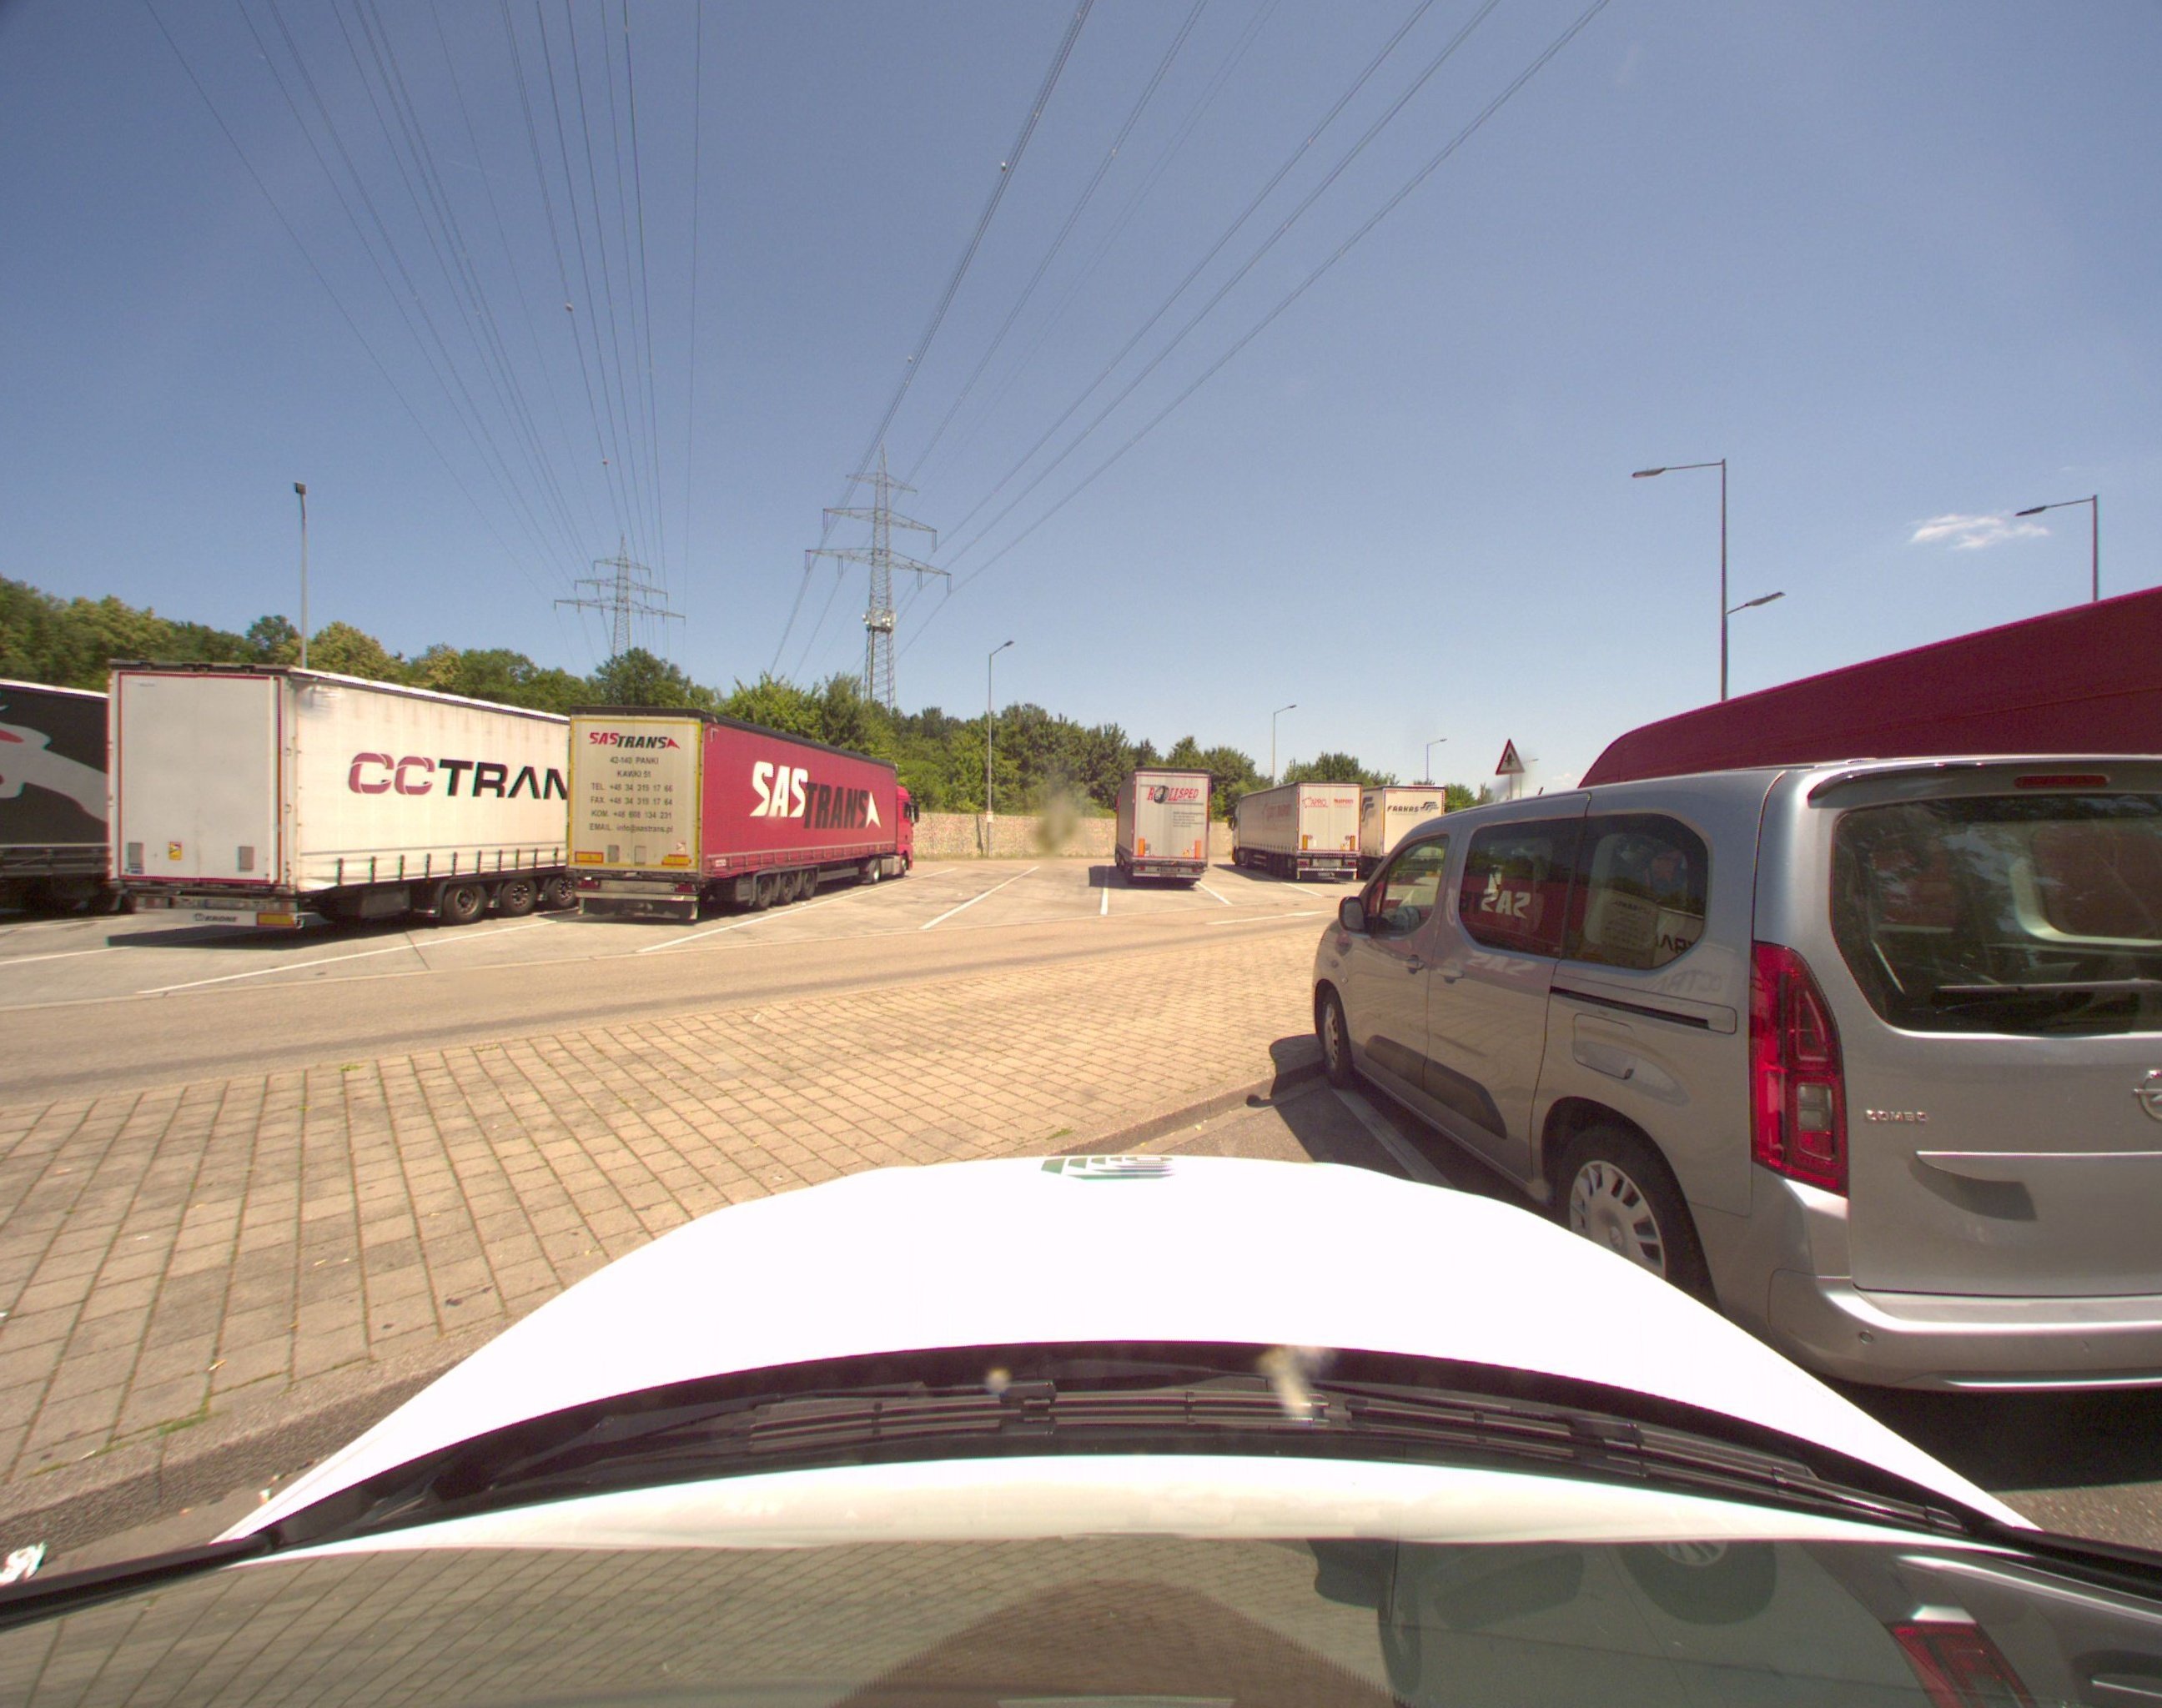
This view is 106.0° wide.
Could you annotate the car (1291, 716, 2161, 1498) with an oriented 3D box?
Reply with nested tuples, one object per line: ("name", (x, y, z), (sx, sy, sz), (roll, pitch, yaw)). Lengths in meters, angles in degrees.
("car", (2.471, 0.531, 3.860), (1.821, 1.753, 3.998), (-1, 1, -2))

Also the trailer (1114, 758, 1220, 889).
("trailer", (3.043, -1.187, 32.747), (3.059, 4.227, 12.811), (1, 2, 1))

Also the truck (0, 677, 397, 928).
("truck", (-18.512, -0.855, 15.972), (2.627, 4.018, 8.640), (-1, 1, 2))

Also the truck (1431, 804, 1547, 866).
("truck", (24.458, -1.128, 49.447), (3.013, 3.437, 8.534), (-1, 1, 2))

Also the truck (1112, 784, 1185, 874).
("truck", (3.124, -1.221, 39.520), (3.016, 3.928, 6.848), (1, 2, 1))

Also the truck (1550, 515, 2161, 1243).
("truck", (5.100, 0.052, 4.882), (1.983, 2.623, 5.312), (-1, 1, 6))

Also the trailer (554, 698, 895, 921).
("trailer", (-8.046, -0.918, 21.559), (2.739, 4.057, 13.292), (-1, 1, 2))

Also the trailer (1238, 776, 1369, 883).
("trailer", (9.937, -1.066, 38.419), (2.865, 4.124, 13.577), (0, 1, 2))

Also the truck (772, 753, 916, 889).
("truck", (-7.841, -1.050, 28.023), (2.733, 4.081, 6.832), (-1, 1, 1))

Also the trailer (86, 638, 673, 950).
("trailer", (-12.100, -0.895, 16.079), (2.734, 4.263, 9.740), (0, 1, 3))

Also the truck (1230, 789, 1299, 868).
("truck", (10.124, -1.393, 45.422), (2.747, 4.124, 5.286), (-1, 1, 2))

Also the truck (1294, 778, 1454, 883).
("truck", (13.572, -1.057, 39.664), (2.894, 4.124, 14.533), (2, 1, 2))
